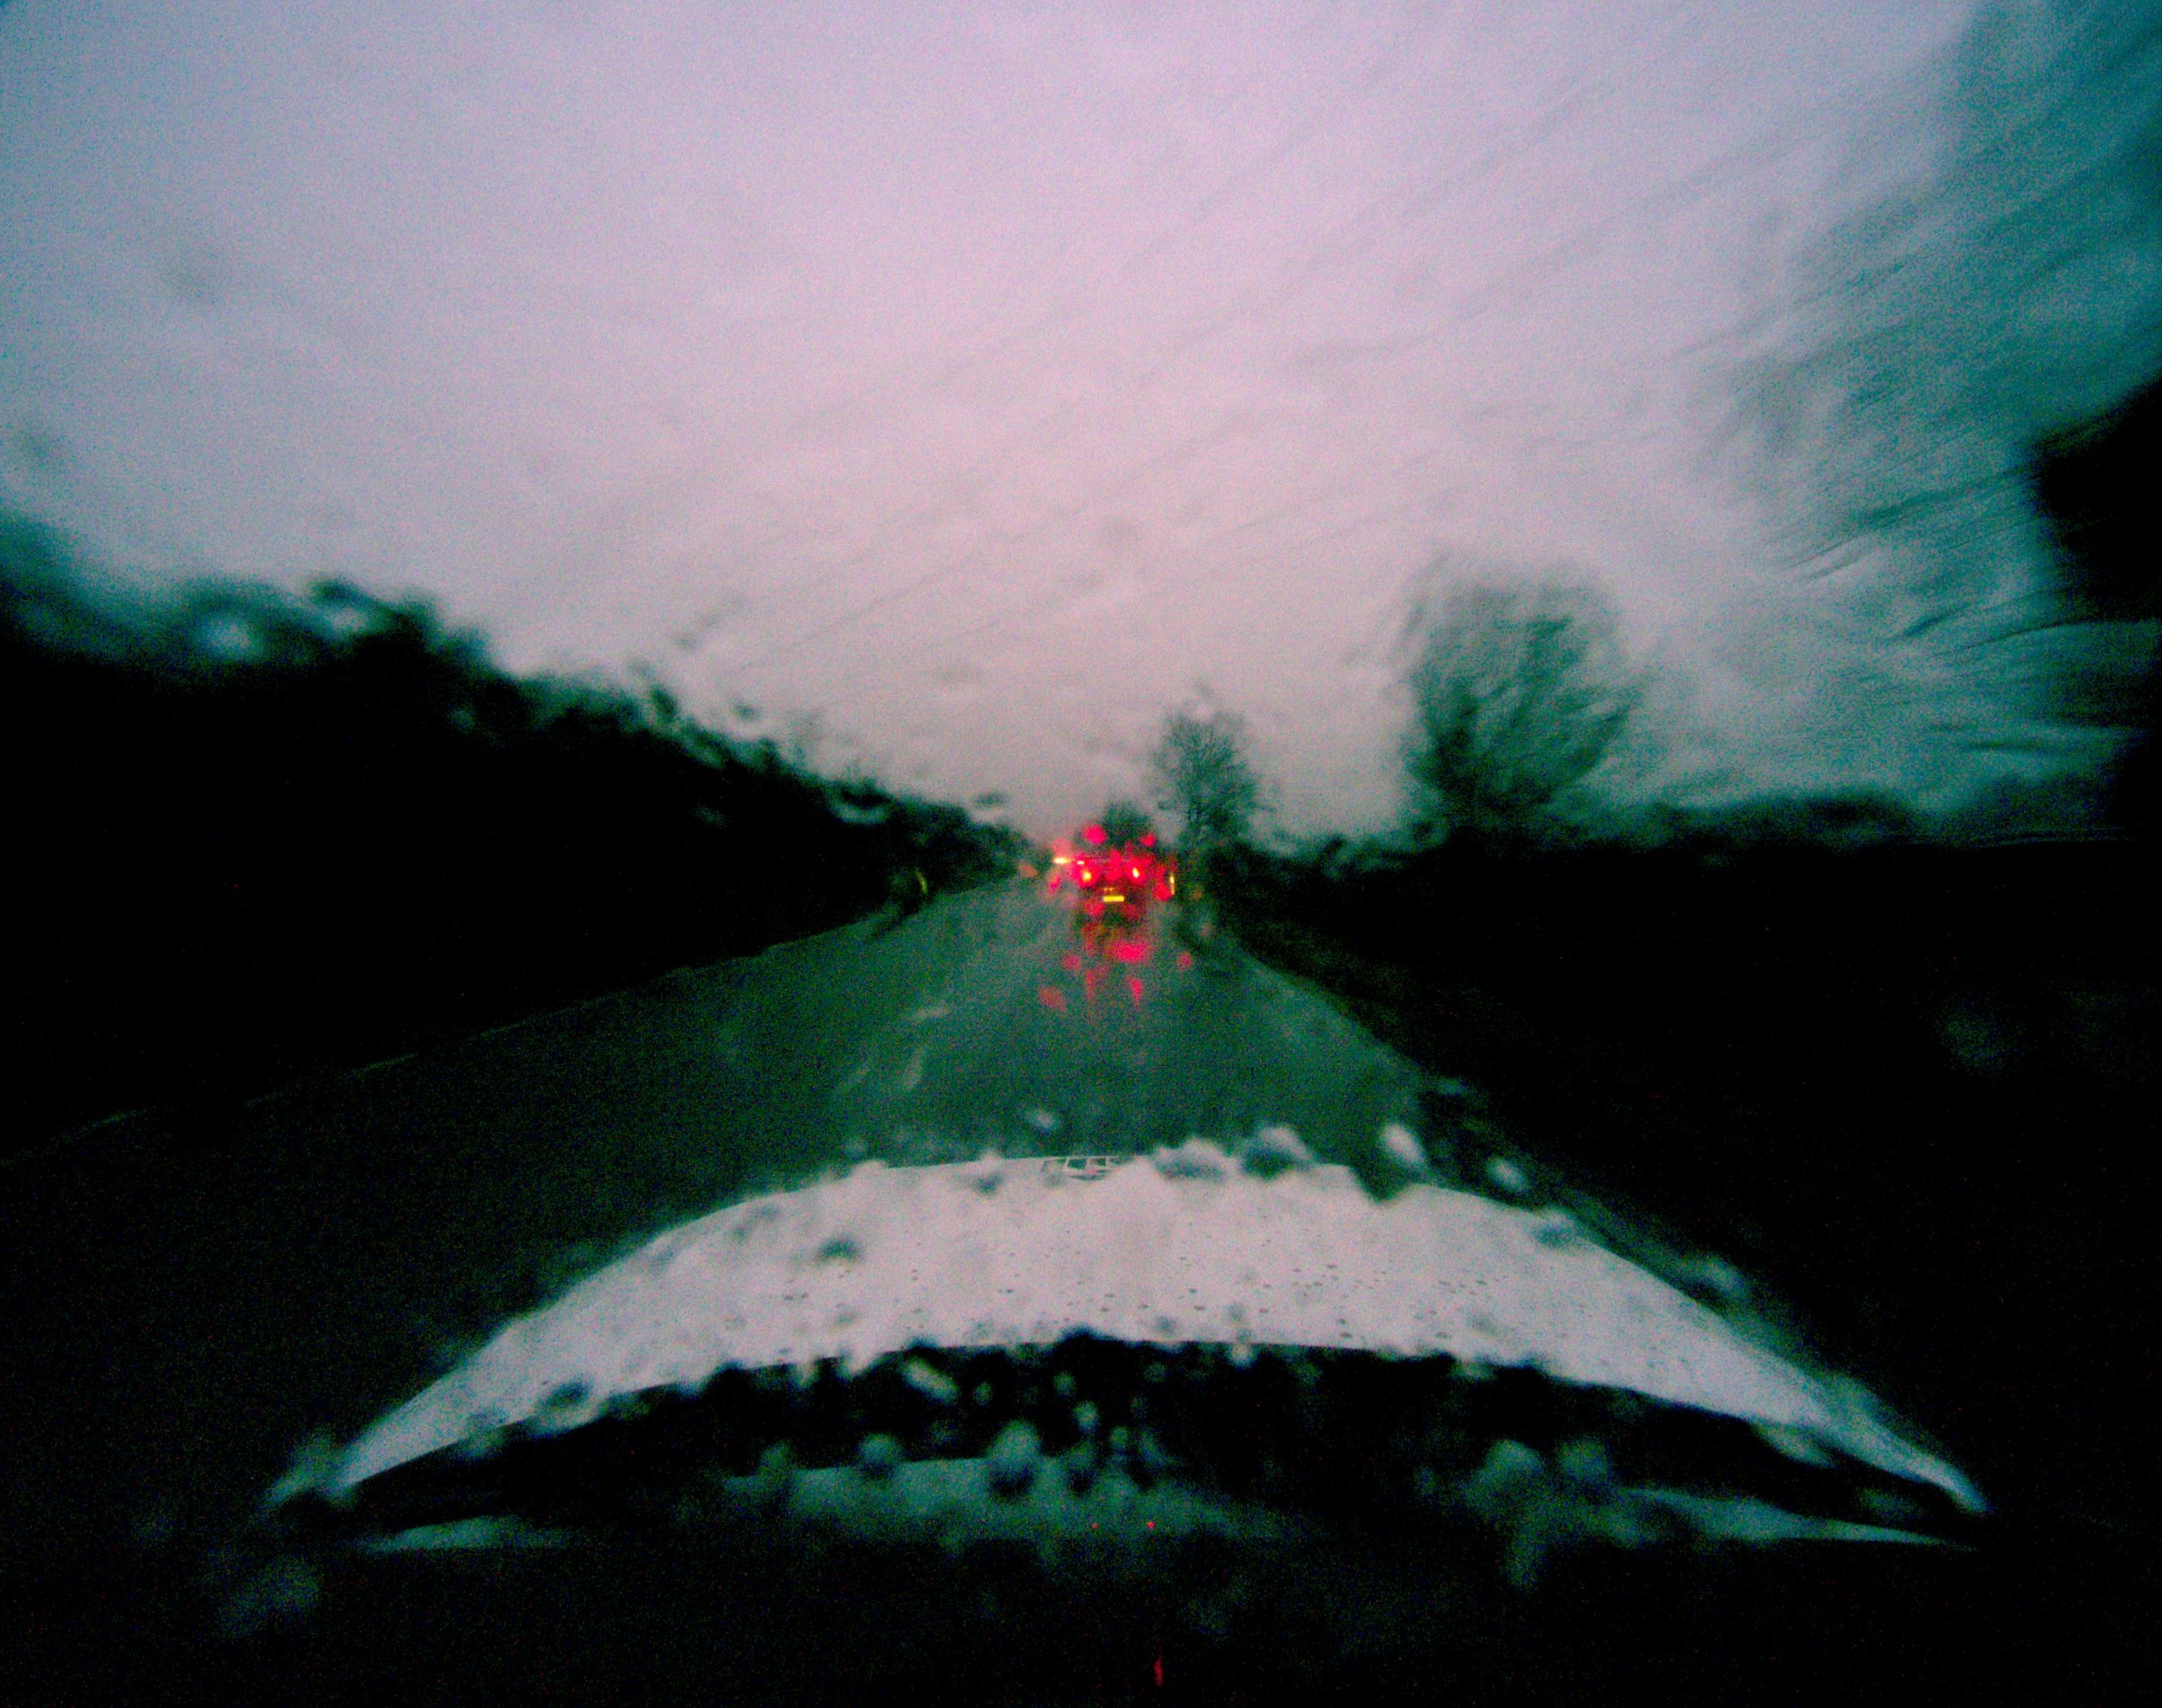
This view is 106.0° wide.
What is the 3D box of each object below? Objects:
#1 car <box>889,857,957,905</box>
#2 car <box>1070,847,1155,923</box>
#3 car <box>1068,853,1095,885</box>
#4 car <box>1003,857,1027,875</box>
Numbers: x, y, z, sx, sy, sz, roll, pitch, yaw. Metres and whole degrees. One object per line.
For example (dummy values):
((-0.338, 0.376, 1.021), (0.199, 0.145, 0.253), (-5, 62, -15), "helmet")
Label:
((-5.848, 0.955, 30.549), (1.770, 1.609, 3.773), (-3, -1, 0), "car")
((0.751, 0.744, 21.320), (1.987, 1.785, 3.999), (0, -1, 0), "car")
((0.050, 0.925, 50.296), (1.569, 1.875, 3.708), (0, -1, 0), "car")
((-6.490, 1.177, 80.623), (1.987, 1.785, 3.999), (0, -1, 0), "car")
